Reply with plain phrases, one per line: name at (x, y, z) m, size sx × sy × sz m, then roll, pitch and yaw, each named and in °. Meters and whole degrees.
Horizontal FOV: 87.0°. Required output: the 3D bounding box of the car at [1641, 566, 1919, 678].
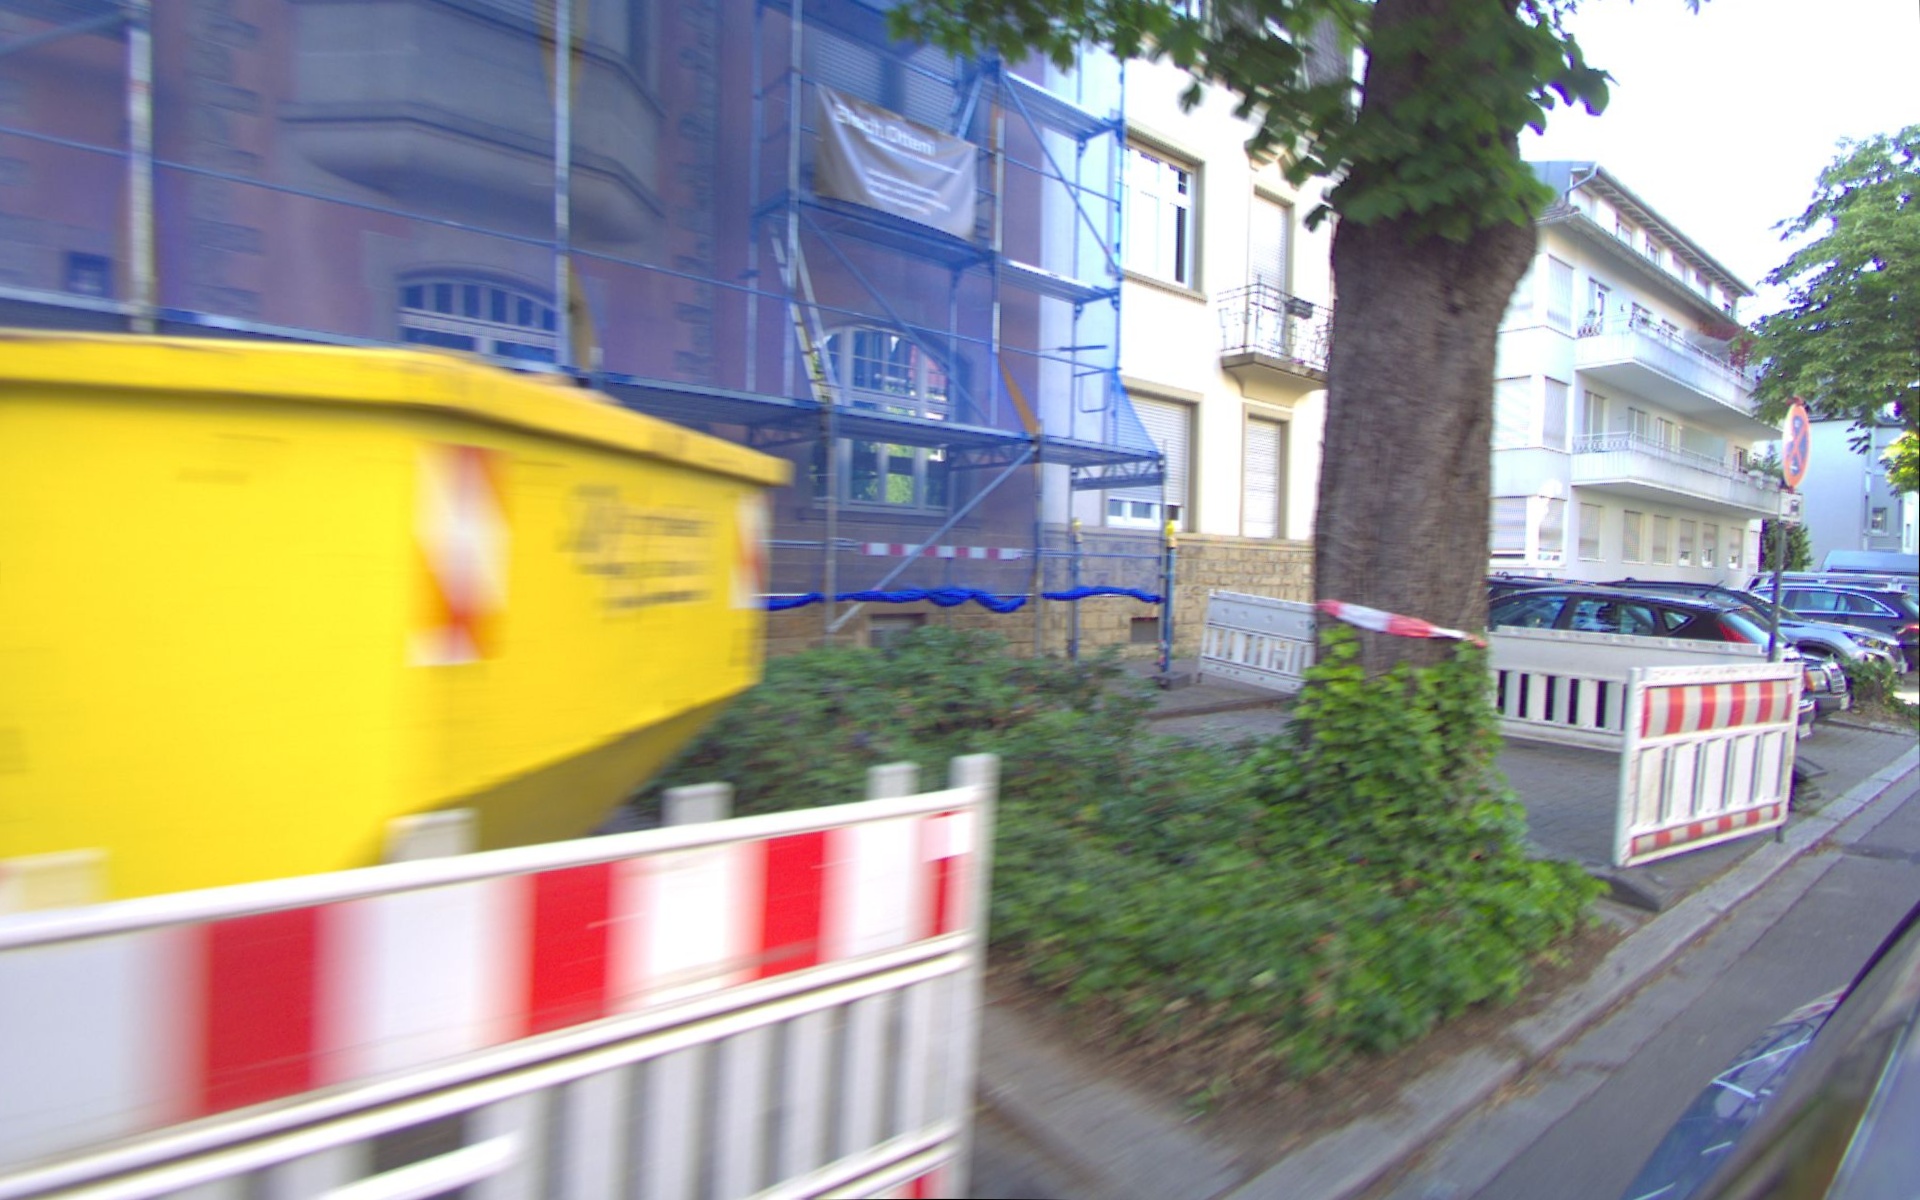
car at (15.362, 0.330, 18.659) m, size 1.676 × 1.703 × 4.339 m, roll 0°, pitch 3°, yaw -42°

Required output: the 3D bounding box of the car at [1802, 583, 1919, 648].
car at (24.448, 0.396, 26.253) m, size 1.610 × 1.573 × 3.731 m, roll -1°, pitch 3°, yaw -38°

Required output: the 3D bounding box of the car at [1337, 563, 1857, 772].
car at (6.134, 0.478, 10.172) m, size 1.817 × 1.510 × 3.999 m, roll 0°, pitch 4°, yaw -38°

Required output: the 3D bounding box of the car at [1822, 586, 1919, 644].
car at (26.521, 0.421, 28.096) m, size 1.728 × 1.448 × 3.728 m, roll -2°, pitch 4°, yaw -41°

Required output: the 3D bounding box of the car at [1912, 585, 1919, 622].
car at (42.651, 0.231, 42.087) m, size 1.729 × 1.560 × 4.308 m, roll 0°, pitch 3°, yaw -42°

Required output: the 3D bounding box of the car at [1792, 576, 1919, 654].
car at (22.795, 0.351, 24.331) m, size 4.175 × 1.744 × 1.739 m, roll 3°, pitch 3°, yaw 43°

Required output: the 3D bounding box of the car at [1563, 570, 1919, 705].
car at (11.749, 0.436, 15.254) m, size 1.818 × 1.558 × 4.166 m, roll 0°, pitch 4°, yaw -40°

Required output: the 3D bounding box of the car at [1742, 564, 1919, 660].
car at (20.770, 0.230, 22.995) m, size 1.863 × 2.038 × 4.477 m, roll 0°, pitch 2°, yaw -41°

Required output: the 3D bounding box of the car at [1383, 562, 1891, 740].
car at (7.857, 0.425, 12.224) m, size 1.818 × 1.553 × 4.731 m, roll 0°, pitch 4°, yaw -39°

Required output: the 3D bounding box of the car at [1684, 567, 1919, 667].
car at (17.281, 0.275, 20.438) m, size 1.674 × 1.703 × 3.962 m, roll 1°, pitch 3°, yaw -37°

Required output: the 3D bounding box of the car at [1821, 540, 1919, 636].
car at (30.393, -0.350, 31.567) m, size 2.041 × 2.938 × 5.104 m, roll 0°, pitch 3°, yaw -42°
